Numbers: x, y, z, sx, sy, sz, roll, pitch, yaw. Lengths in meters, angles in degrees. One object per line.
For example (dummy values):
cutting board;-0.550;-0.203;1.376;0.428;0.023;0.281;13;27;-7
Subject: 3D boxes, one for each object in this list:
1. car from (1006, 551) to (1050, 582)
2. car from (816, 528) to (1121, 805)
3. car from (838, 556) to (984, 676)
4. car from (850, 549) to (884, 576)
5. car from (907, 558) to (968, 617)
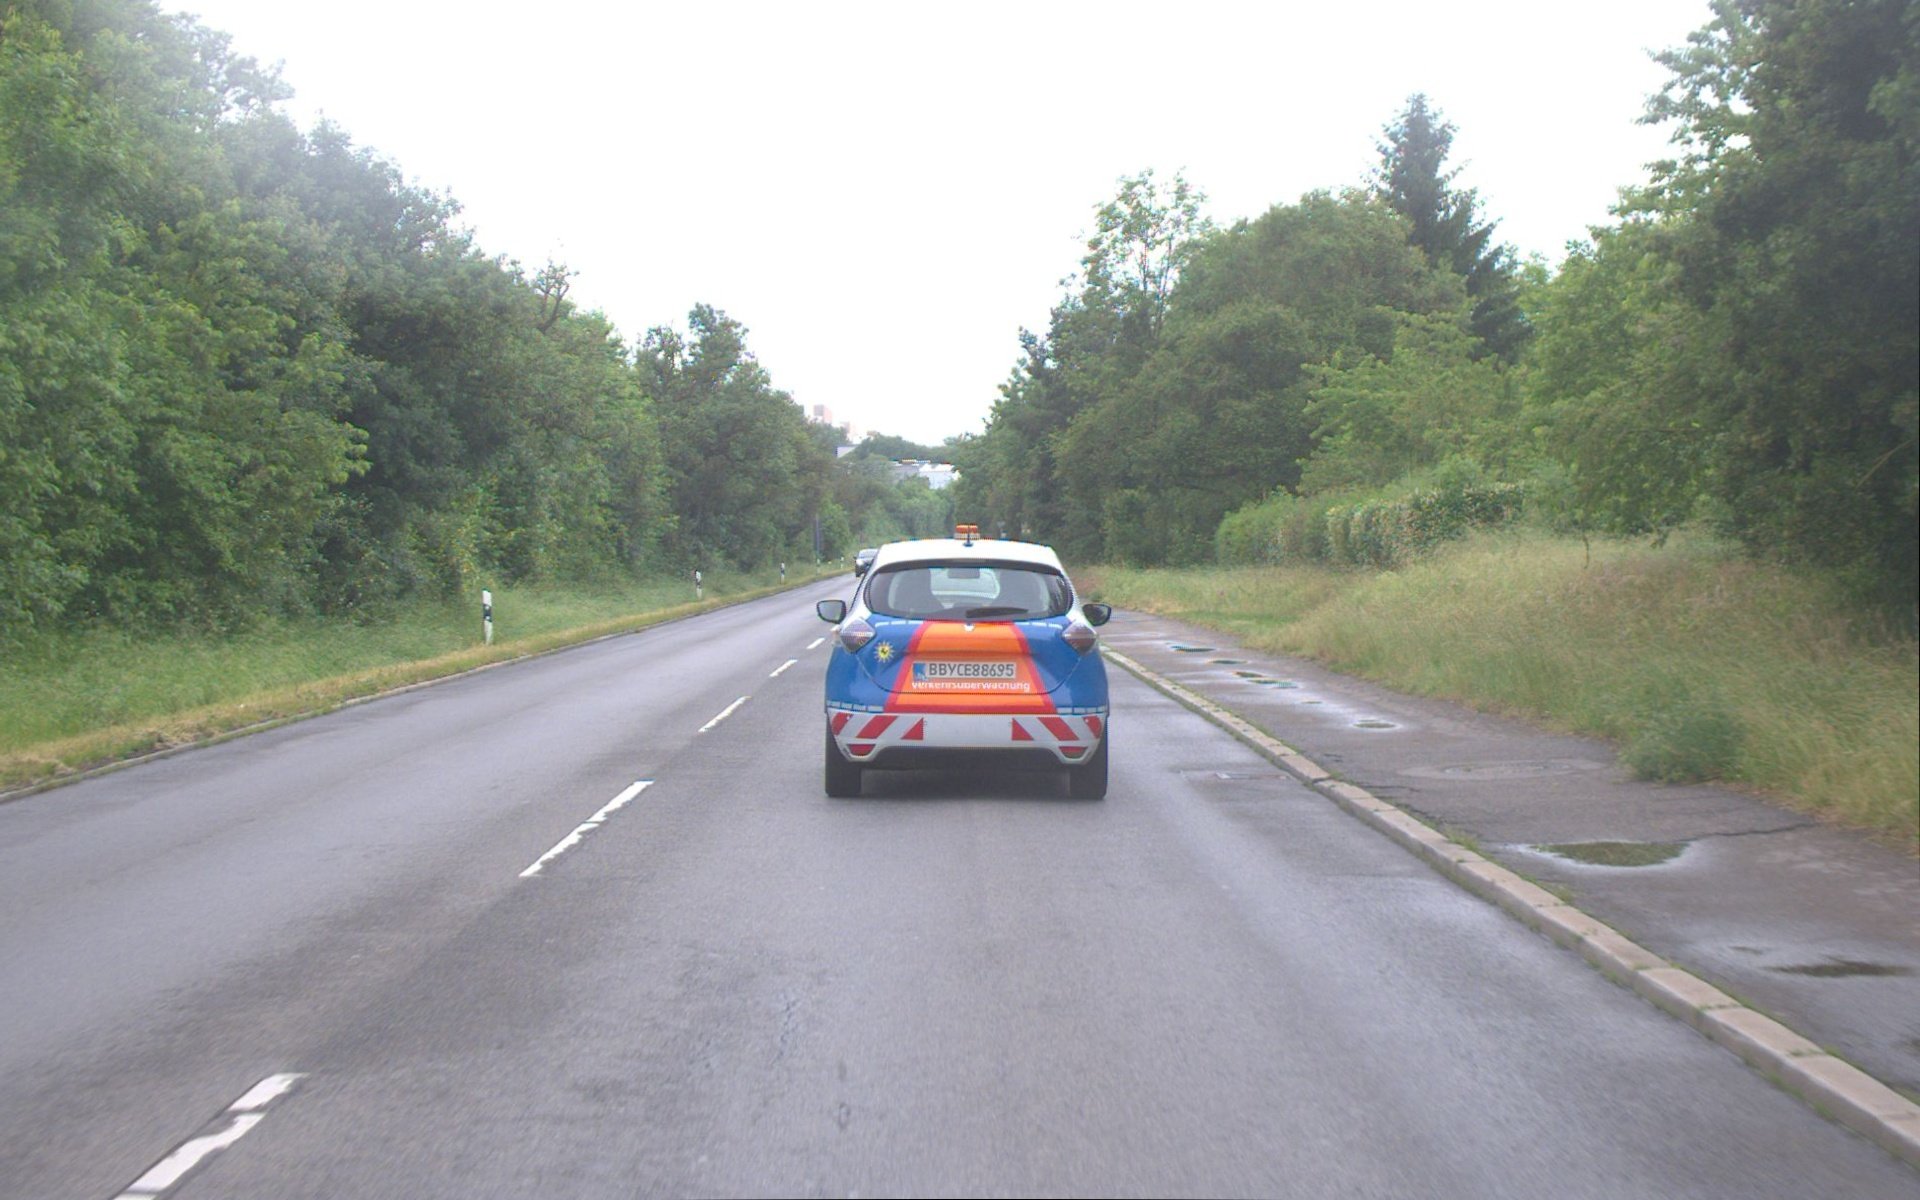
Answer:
car;3.143;-1.572;159.570;1.993;1.371;4.000;-1;1;0
car;0.030;0.347;21.755;1.752;1.550;3.793;0;2;-1
car;-0.538;0.156;40.012;1.598;1.282;3.476;-1;1;0
car;-5.599;-2.252;206.861;1.905;1.551;4.516;-1;1;0
car;-0.675;-0.403;105.755;1.789;1.714;4.000;-1;1;0
